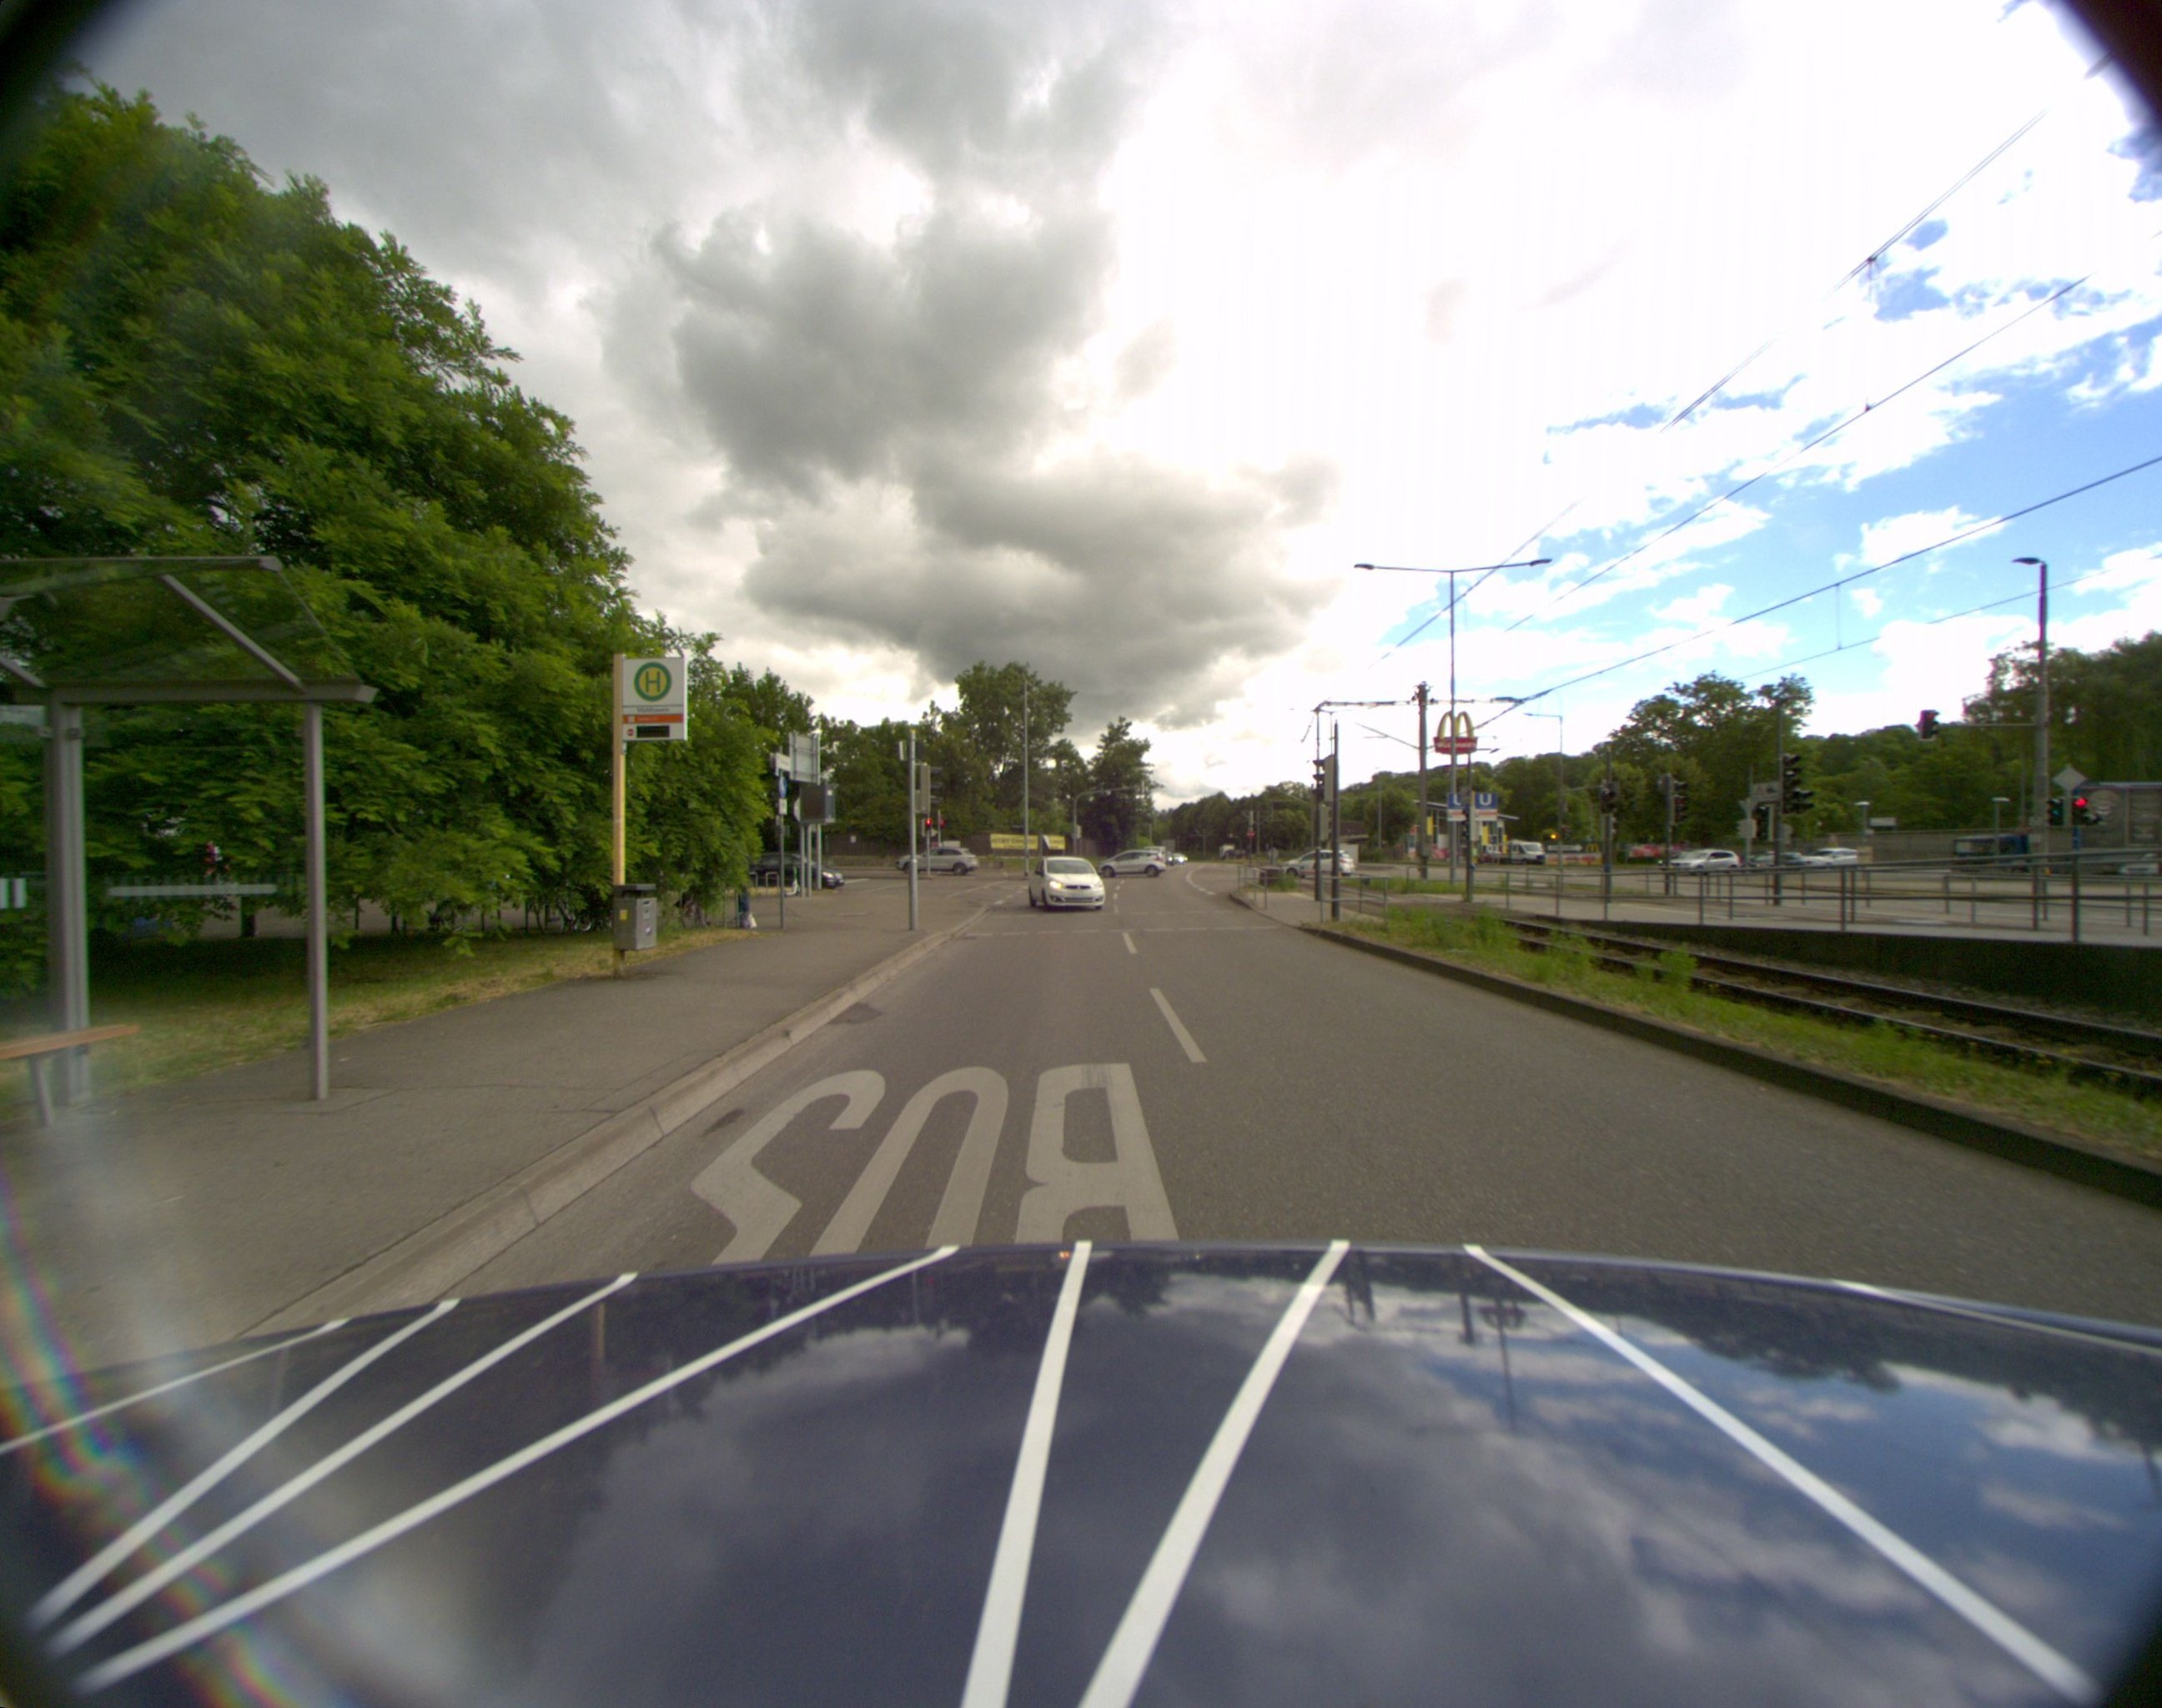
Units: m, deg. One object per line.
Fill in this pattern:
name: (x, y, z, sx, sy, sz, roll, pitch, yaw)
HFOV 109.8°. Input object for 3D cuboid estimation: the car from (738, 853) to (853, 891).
car: (-12.053, 0.742, 32.262, 4.183, 1.522, 1.721, 0, 1, 0)

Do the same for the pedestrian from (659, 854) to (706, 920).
pedestrian: (-9.396, 0.759, 17.927, 0.755, 1.505, 0.671, 1, 1, -1)

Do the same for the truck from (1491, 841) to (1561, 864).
truck: (40.008, -0.175, 68.536, 2.599, 1.894, 6.196, 1, 1, 0)

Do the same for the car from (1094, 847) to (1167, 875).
car: (2.974, 0.429, 45.388, 4.117, 1.631, 1.752, 0, 1, 12)

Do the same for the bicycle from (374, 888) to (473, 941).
bicycle: (-12.429, 1.111, 14.425, 0.478, 0.851, 1.738, -1, 0, -5)

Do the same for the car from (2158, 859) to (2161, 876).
car: (74.743, 0.971, 50.143, 1.575, 1.115, 3.884, 1, 1, -10)

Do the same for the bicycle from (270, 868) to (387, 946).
bicycle: (-14.328, 0.976, 14.536, 0.646, 1.364, 1.657, -1, 1, -5)

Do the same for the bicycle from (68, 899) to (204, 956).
bicycle: (-17.068, 1.301, 13.787, 0.478, 0.851, 1.657, -1, 0, -5)

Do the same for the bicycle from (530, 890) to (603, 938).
bicycle: (-9.903, 1.134, 14.685, 0.478, 0.803, 1.513, -1, 0, -5)

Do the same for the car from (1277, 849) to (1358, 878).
car: (12.703, 0.473, 40.862, 3.818, 1.446, 1.635, 1, 1, 36)

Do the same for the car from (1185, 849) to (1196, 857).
car: (21.206, -0.232, 147.136, 1.965, 1.543, 4.002, 1, 1, 8)

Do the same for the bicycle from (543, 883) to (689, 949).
bicycle: (-7.043, 0.924, 11.514, 2.040, 0.934, 0.592, -1, 1, 14)

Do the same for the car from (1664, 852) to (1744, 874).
car: (41.133, 0.577, 50.187, 4.420, 1.424, 1.794, -1, 1, -13)

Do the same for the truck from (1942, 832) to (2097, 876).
truck: (53.621, -0.005, 43.514, 5.820, 2.480, 2.386, 0, 1, 1)

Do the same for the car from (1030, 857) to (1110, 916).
car: (-0.399, 0.846, 21.722, 1.675, 1.439, 3.601, -2, 1, -11)

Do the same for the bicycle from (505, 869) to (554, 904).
bicycle: (-19.117, 1.105, 26.373, 0.582, 1.109, 1.812, 2, 1, -8)

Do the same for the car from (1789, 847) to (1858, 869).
car: (54.109, 0.289, 55.426, 3.641, 1.545, 1.726, 1, 1, -9)

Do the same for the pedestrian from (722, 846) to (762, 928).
pedestrian: (-7.372, 0.699, 16.512, 0.688, 1.744, 0.420, 0, 2, 31)

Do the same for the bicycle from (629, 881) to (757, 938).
bicycle: (-6.562, 0.935, 12.891, 1.871, 0.919, 0.545, 0, 1, 1)

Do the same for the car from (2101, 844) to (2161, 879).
car: (54.545, 0.356, 38.363, 3.855, 1.733, 1.755, 0, 1, -2)

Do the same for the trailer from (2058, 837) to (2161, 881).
trailer: (55.628, 0.250, 40.762, 4.389, 2.245, 1.560, 1, 1, -1)

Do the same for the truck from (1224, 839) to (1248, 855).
truck: (33.768, -1.550, 166.075, 3.435, 3.539, 8.698, 1, 1, 1)

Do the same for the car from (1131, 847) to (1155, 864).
car: (5.487, 0.143, 67.056, 1.718, 1.410, 4.003, 1, 1, 10)

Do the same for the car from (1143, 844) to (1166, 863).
car: (7.148, -0.030, 73.631, 1.807, 1.814, 4.003, 0, 1, 12)

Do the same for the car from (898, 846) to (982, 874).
car: (-8.474, 0.343, 45.969, 4.853, 1.633, 1.676, 0, 1, -3)

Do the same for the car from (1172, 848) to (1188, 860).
car: (13.083, 0.012, 100.526, 1.829, 1.543, 4.003, 1, 1, 10)

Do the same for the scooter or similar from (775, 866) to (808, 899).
scooter or similar: (-10.289, 0.991, 27.020, 0.654, 1.105, 1.231, 0, 1, 2)

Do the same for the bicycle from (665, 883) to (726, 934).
bicycle: (-7.530, 1.034, 14.912, 0.524, 0.901, 1.850, 1, -1, -10)

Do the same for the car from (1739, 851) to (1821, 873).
car: (46.859, 0.492, 50.969, 4.284, 1.424, 1.794, 0, 1, -9)
